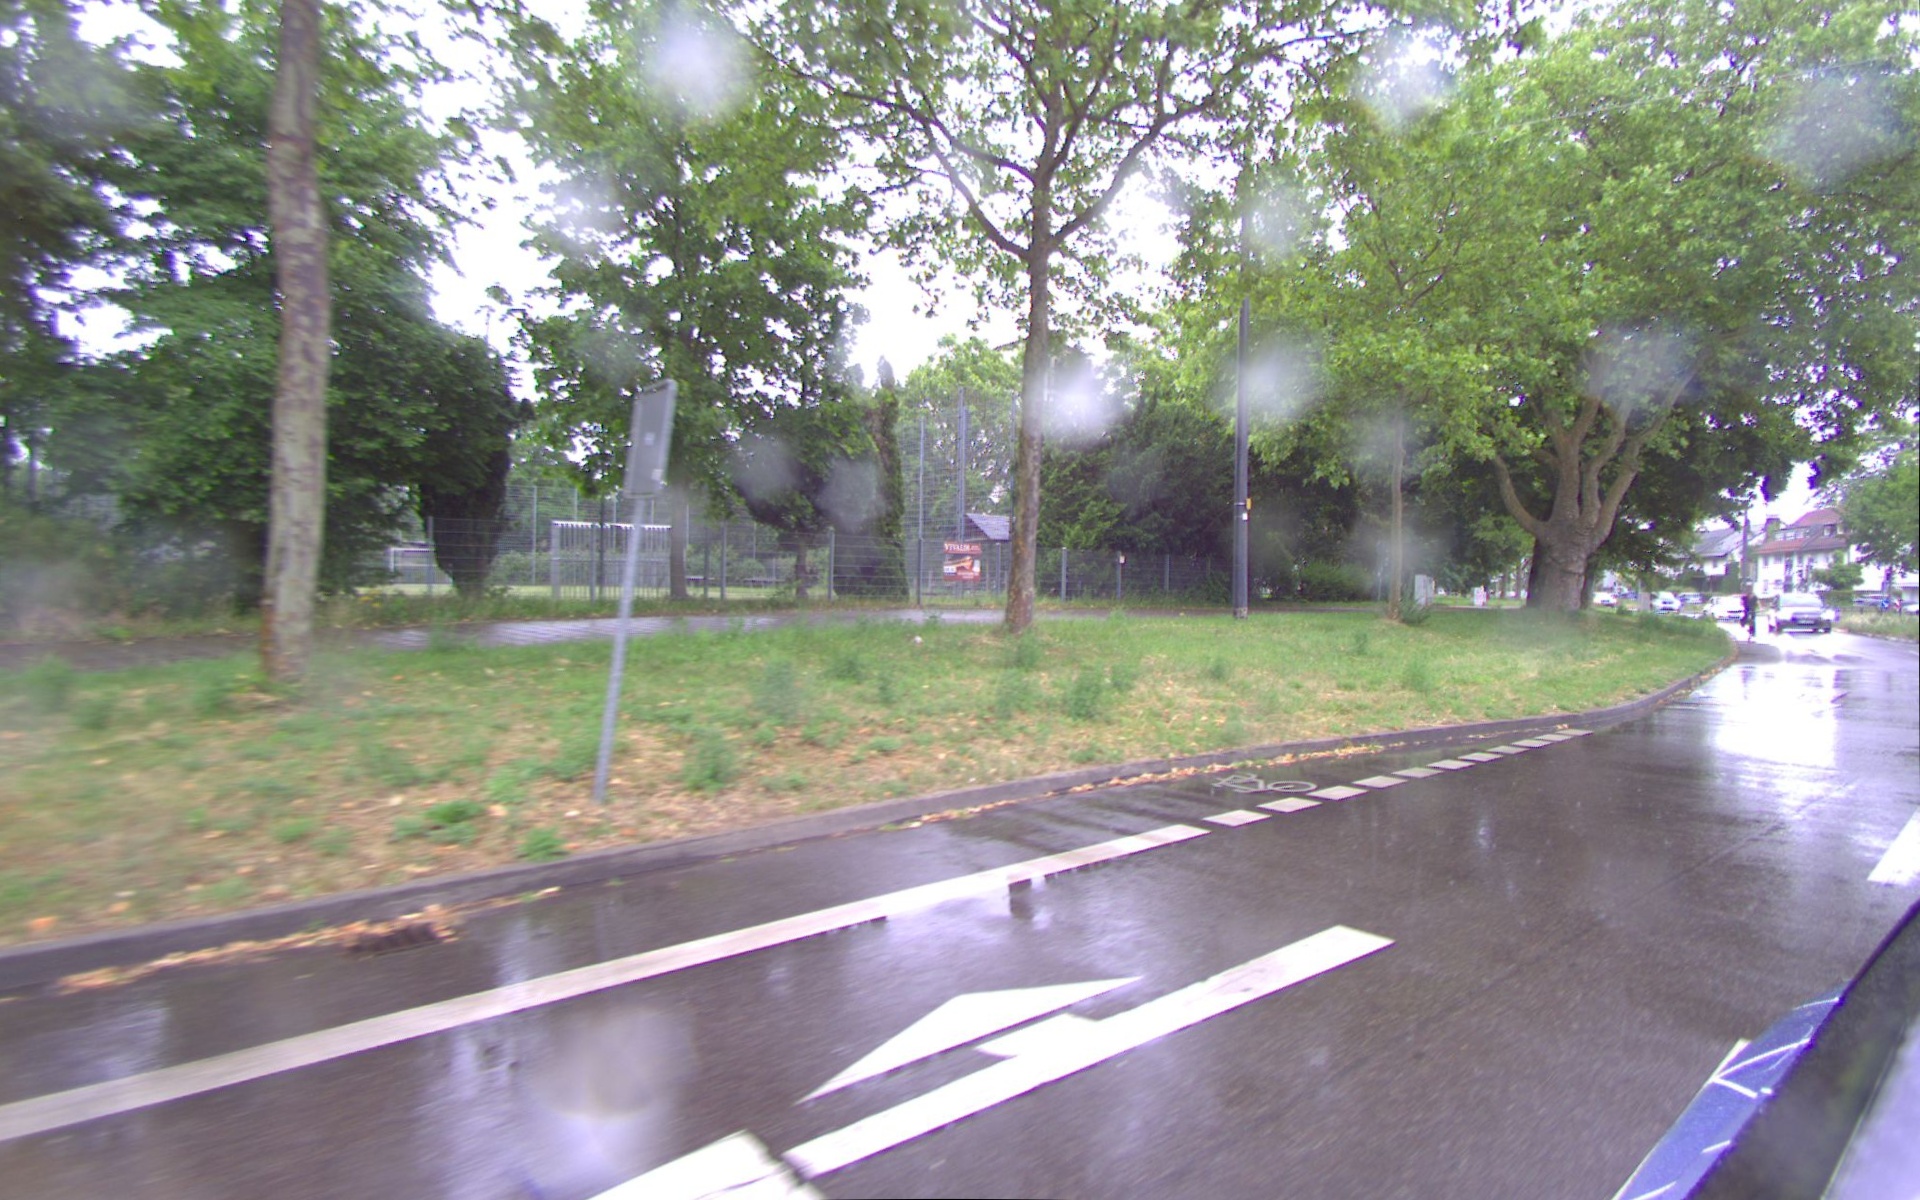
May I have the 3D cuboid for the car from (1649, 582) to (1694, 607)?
[{"bbox_3d":[53.447,-0.464,76.059,1.747,1.746,3.908,2,2,20],"label":"car"}]

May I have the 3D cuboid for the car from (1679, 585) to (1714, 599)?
[{"bbox_3d":[84.369,-0.946,115.979,1.975,1.634,4.652,0,1,21],"label":"car"}]

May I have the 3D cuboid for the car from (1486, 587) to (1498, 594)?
[{"bbox_3d":[120.965,-2.145,230.221,1.738,1.535,3.830,-2,0,19],"label":"car"}]

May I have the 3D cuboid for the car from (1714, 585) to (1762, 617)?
[{"bbox_3d":[44.733,0.005,58.264,1.754,1.746,3.892,1,1,31],"label":"car"}]

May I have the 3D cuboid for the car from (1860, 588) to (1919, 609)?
[{"bbox_3d":[78.016,-0.132,84.357,3.950,1.596,1.881,2,1,20],"label":"car"}]

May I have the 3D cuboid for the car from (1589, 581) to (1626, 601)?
[{"bbox_3d":[58.953,-0.854,92.206,1.745,1.746,3.913,2,2,17],"label":"car"}]

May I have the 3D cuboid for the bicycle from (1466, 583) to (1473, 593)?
[{"bbox_3d":[61.831,-1.476,122.704,0.707,1.156,1.953,1,3,28],"label":"bicycle"}]

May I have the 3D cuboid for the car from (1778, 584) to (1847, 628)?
[{"bbox_3d":[35.946,0.227,42.754,1.756,1.747,3.886,-1,0,34],"label":"car"}]

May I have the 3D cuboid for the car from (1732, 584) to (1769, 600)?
[{"bbox_3d":[80.372,-0.791,102.923,1.825,1.566,3.946,-1,0,21],"label":"car"}]

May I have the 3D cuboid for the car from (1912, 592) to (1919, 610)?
[{"bbox_3d":[75.455,0.065,76.471,4.687,1.382,1.834,0,1,23],"label":"car"}]

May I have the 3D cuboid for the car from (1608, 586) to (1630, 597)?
[{"bbox_3d":[94.364,-1.255,144.972,1.697,1.548,3.579,-2,0,19],"label":"car"}]

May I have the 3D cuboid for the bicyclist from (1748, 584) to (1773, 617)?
[{"bbox_3d":[28.087,0.011,35.501,0.620,1.098,0.615,2,2,42],"label":"bicyclist"}]

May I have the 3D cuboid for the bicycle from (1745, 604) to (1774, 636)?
[{"bbox_3d":[28.081,0.677,35.523,0.657,1.026,2.223,2,2,41],"label":"bicycle"}]
